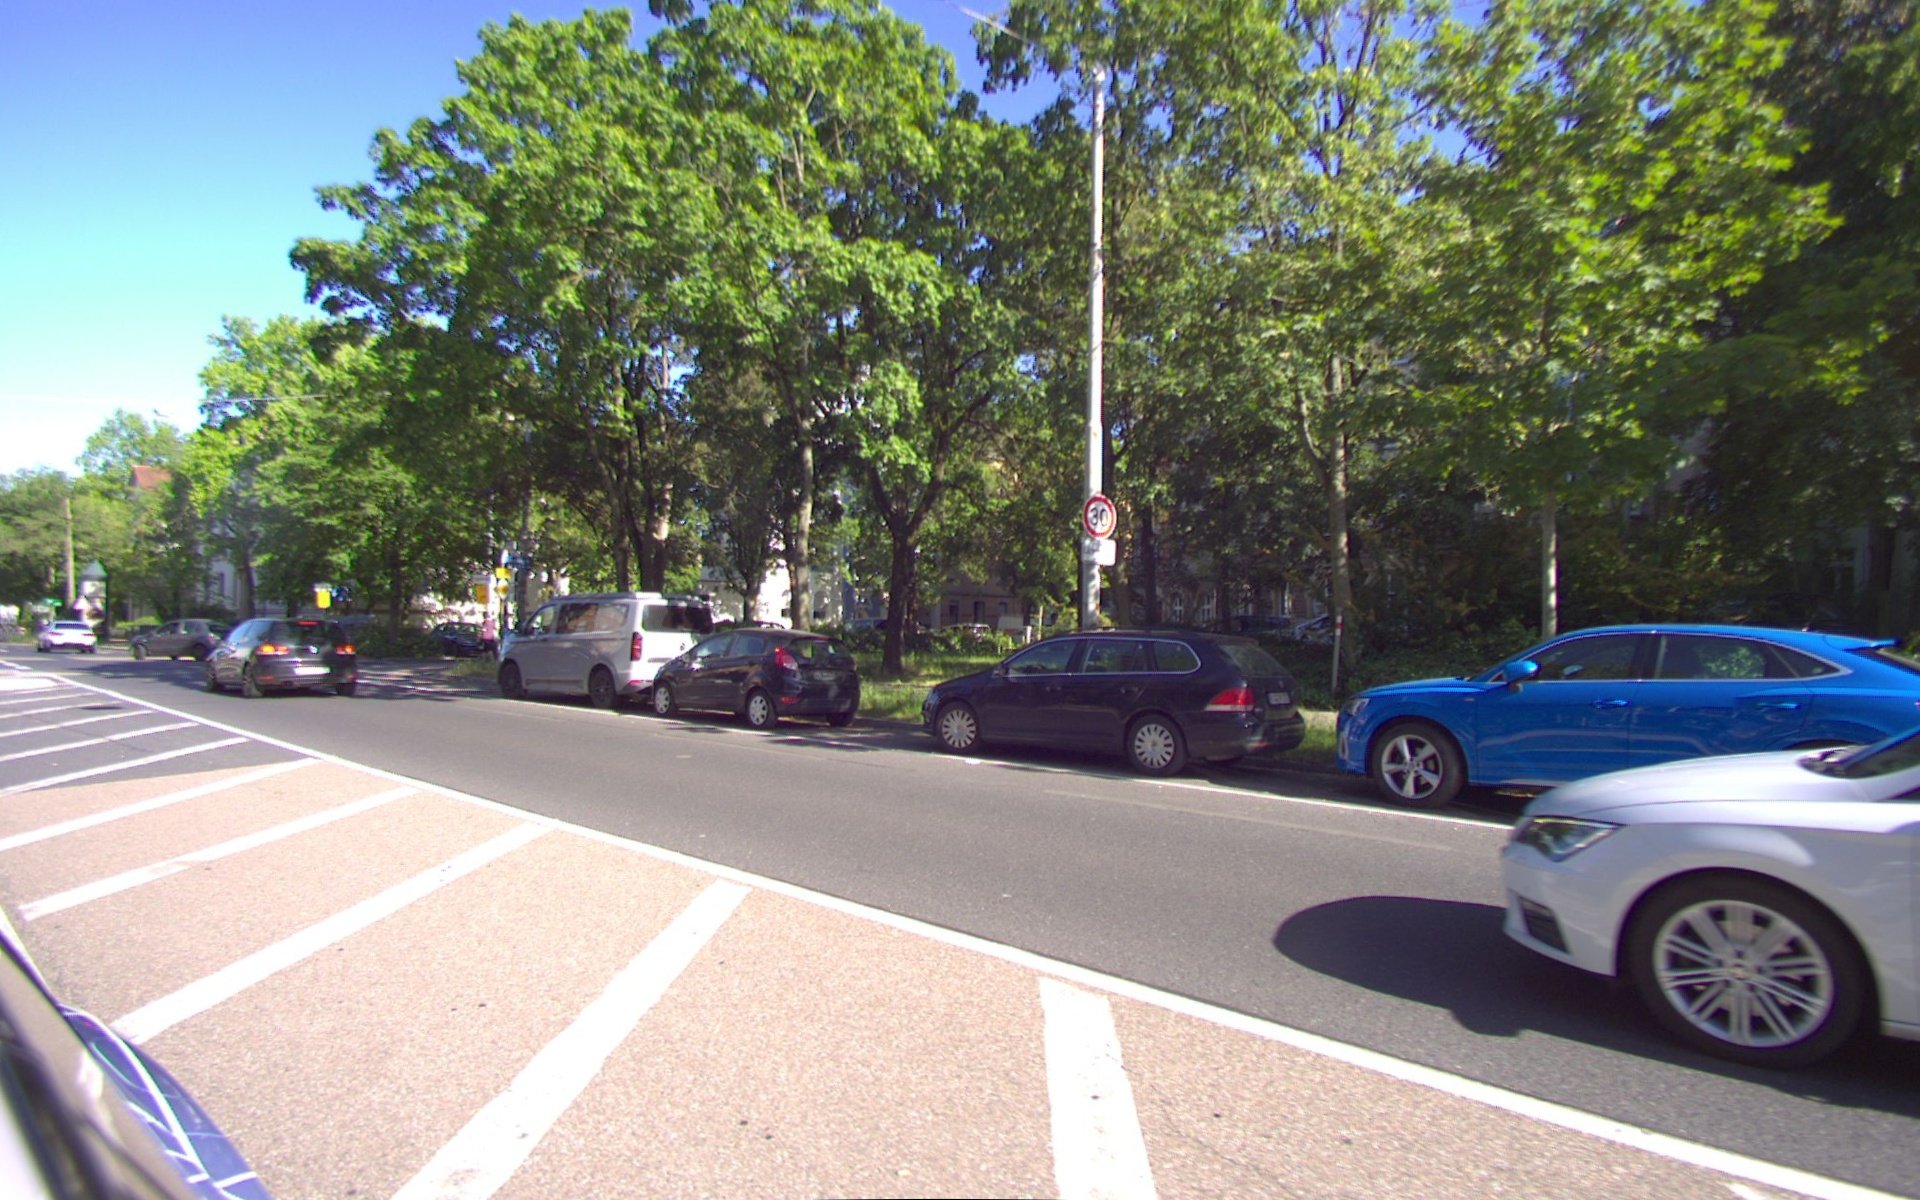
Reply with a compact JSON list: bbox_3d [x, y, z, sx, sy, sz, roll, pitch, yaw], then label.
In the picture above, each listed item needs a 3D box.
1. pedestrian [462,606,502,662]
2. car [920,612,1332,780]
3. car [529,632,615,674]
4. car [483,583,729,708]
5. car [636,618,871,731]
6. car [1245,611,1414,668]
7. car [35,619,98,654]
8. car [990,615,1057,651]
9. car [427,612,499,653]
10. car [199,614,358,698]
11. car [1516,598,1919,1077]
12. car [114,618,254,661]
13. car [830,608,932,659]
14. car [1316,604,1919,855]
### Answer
[{"bbox_3d":[-15.213,1.076,32.234,0.817,1.768,0.863,-1,-1,31],"label":"pedestrian"},{"bbox_3d":[1.694,0.922,11.167,4.267,1.493,1.575,0,-3,39],"label":"car"},{"bbox_3d":[-18.231,2.442,47.426,4.700,1.701,1.868,1,-1,43],"label":"car"},{"bbox_3d":[-6.703,0.844,18.939,4.868,2.052,1.964,-1,-4,38],"label":"car"},{"bbox_3d":[-3.276,1.062,15.617,3.957,1.513,1.448,0,-3,42],"label":"car"},{"bbox_3d":[10.307,1.118,28.431,4.123,1.439,1.594,2,-4,1],"label":"car"},{"bbox_3d":[-40.627,1.650,45.979,4.714,1.505,1.784,-1,-2,44],"label":"car"},{"bbox_3d":[4.789,2.464,76.563,4.915,2.643,1.869,-1,-3,41],"label":"car"},{"bbox_3d":[-22.095,1.454,44.878,1.864,1.701,4.708,2,-3,-39],"label":"car"},{"bbox_3d":[-13.248,1.025,19.589,4.132,1.461,1.575,-1,-2,42],"label":"car"},{"bbox_3d":[4.266,0.716,3.066,4.223,1.430,1.898,-1,-2,41],"label":"car"},{"bbox_3d":[-28.463,1.448,37.190,3.728,1.502,1.844,1,-2,1],"label":"car"},{"bbox_3d":[-3.726,1.579,47.341,4.916,2.263,1.868,-1,-3,42],"label":"car"},{"bbox_3d":[5.396,0.863,8.016,4.559,1.550,1.760,-1,-3,44],"label":"car"}]
